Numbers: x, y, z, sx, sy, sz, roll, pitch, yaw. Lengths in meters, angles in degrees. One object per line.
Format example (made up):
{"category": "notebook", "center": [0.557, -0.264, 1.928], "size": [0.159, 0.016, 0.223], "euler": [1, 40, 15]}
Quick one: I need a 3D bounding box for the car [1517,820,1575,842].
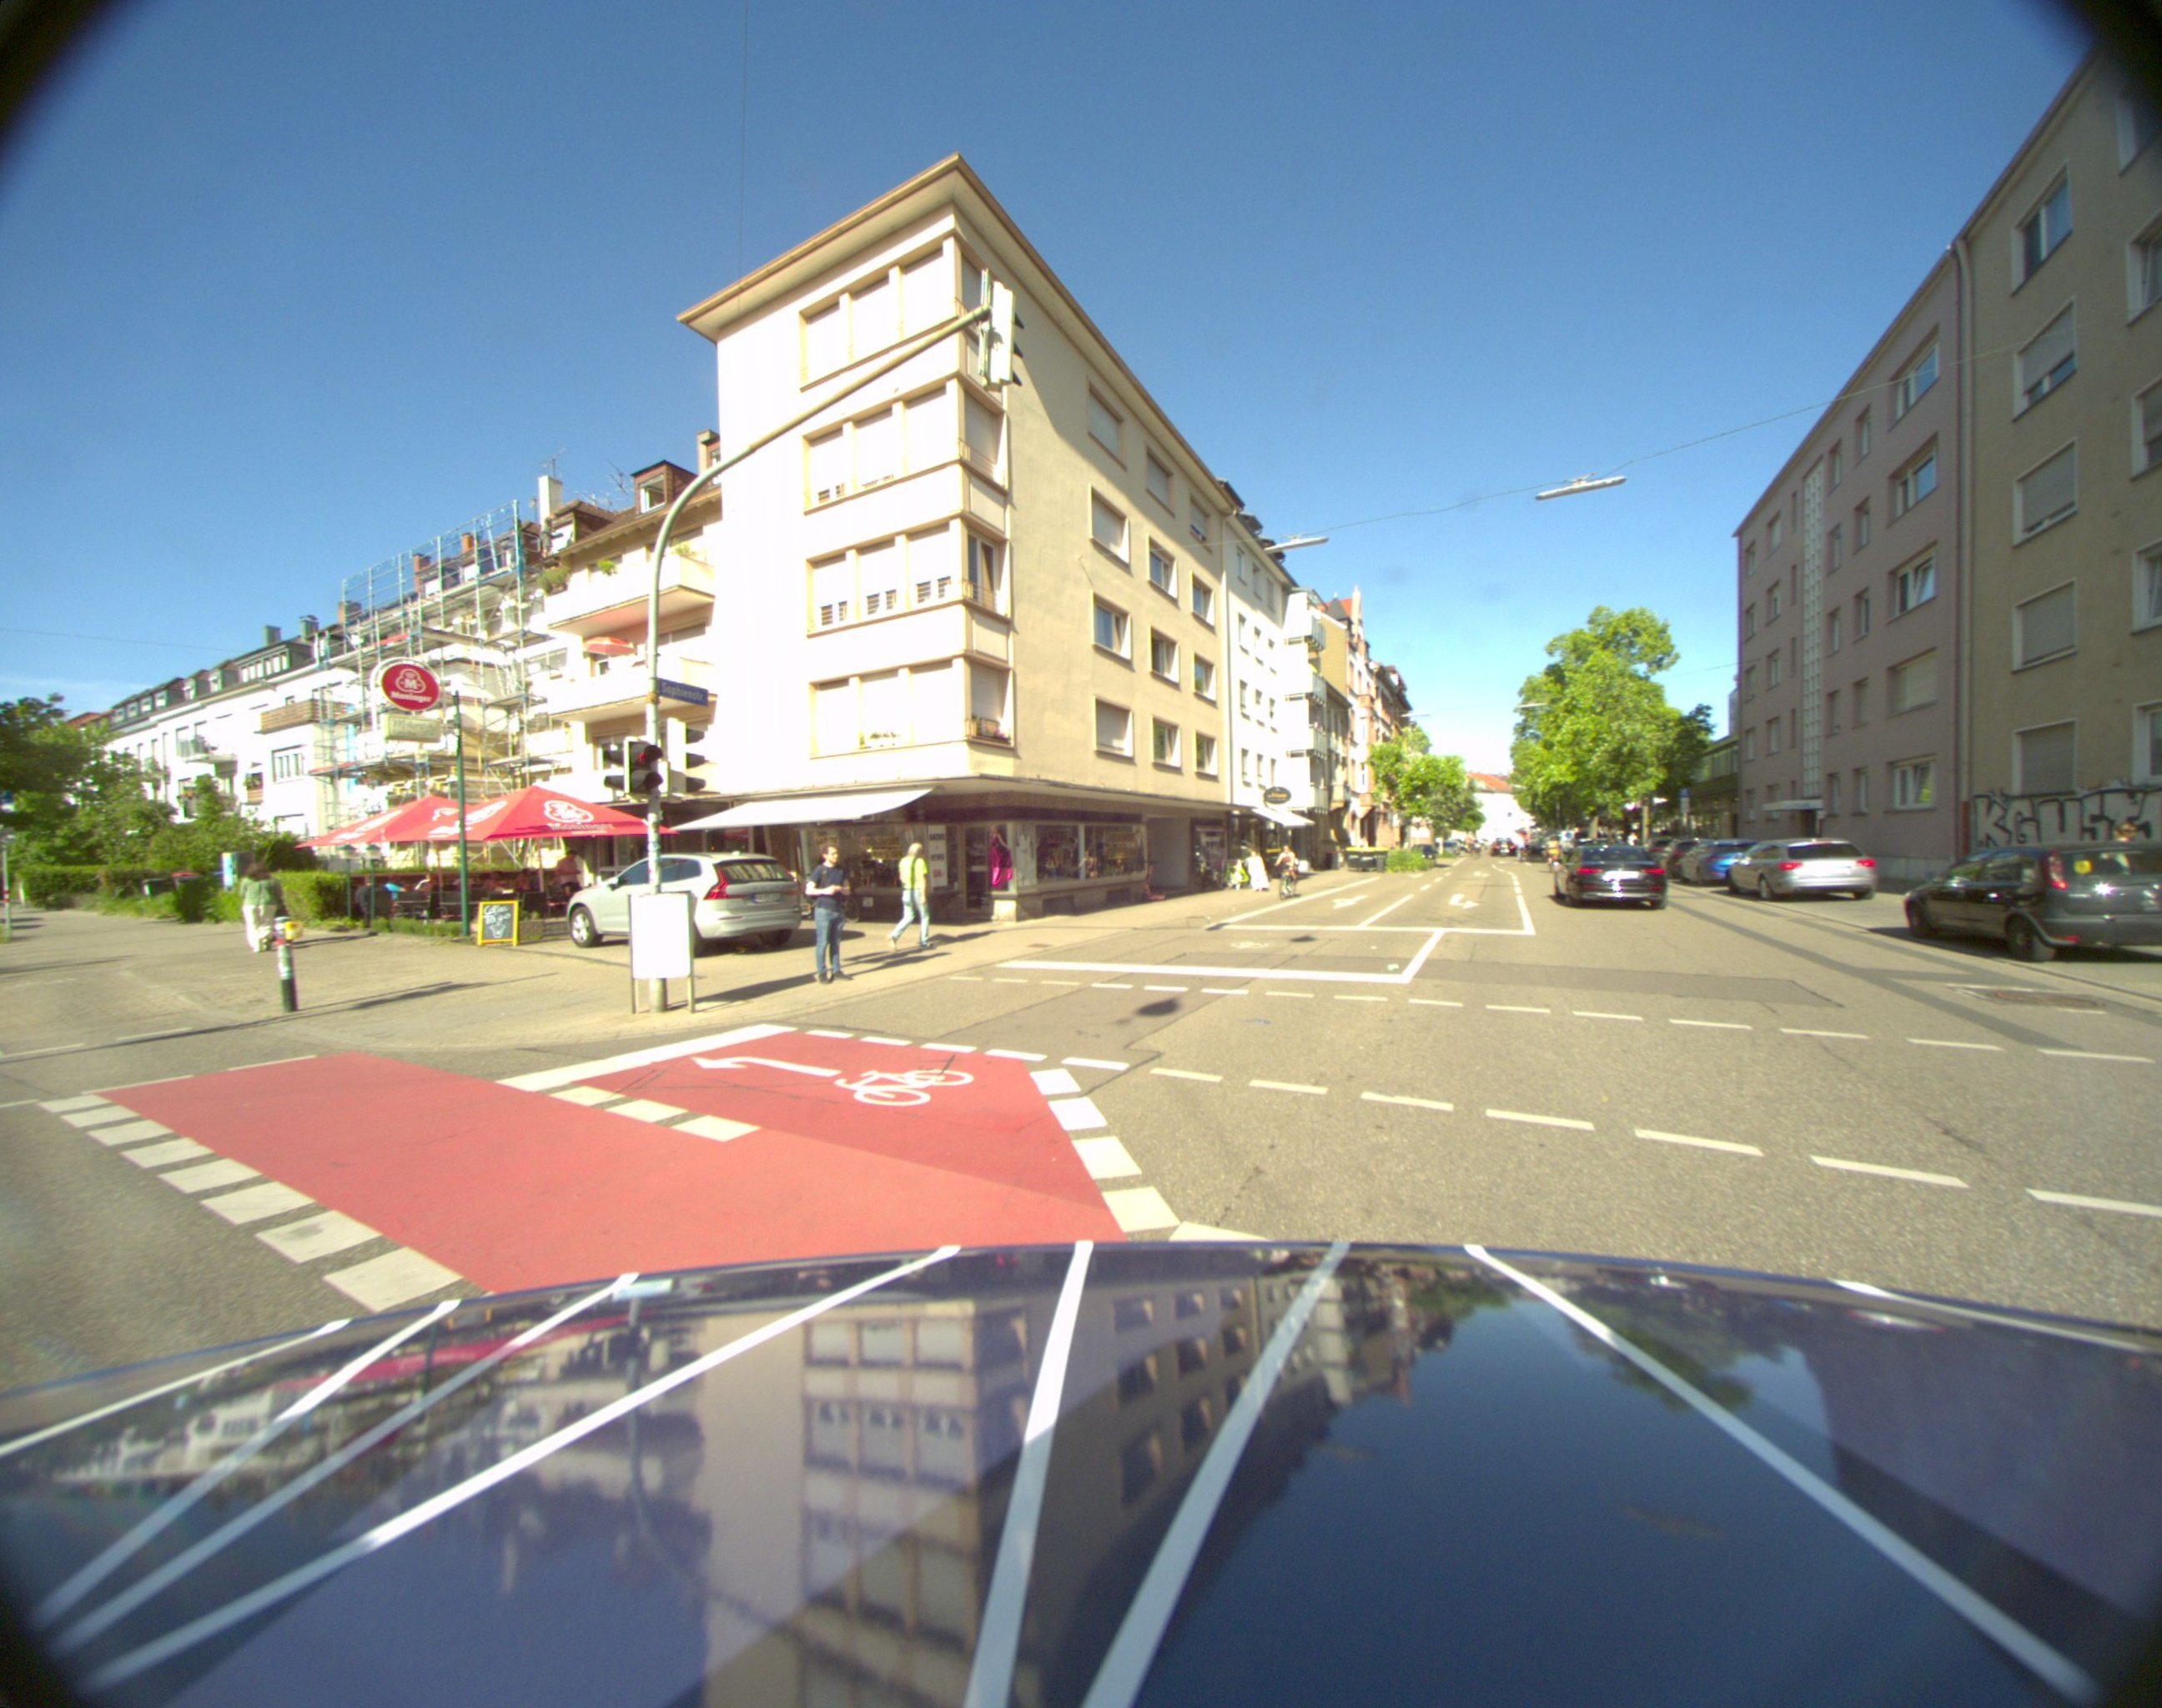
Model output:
{"category": "car", "center": [53.381, -2.591, 87.347], "size": [5.548, 2.379, 1.981], "euler": [-1, 1, 24]}

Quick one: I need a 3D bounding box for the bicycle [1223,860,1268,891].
{"category": "bicycle", "center": [6.033, 0.777, 27.899], "size": [1.494, 1.100, 0.723], "euler": [-1, 1, -3]}

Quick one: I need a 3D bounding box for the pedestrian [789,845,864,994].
{"category": "pedestrian", "center": [-3.213, 0.801, 9.638], "size": [0.627, 1.812, 0.606], "euler": [-1, 1, 15]}

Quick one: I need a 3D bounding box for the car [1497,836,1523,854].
{"category": "car", "center": [37.853, -0.821, 67.075], "size": [1.908, 1.543, 4.007], "euler": [-1, 1, 29]}

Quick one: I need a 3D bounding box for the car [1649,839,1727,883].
{"category": "car", "center": [23.071, 0.230, 29.016], "size": [1.724, 1.459, 4.165], "euler": [-3, 0, 31]}

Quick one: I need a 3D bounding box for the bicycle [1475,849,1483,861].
{"category": "bicycle", "center": [32.657, 0.076, 62.290], "size": [0.543, 0.897, 1.829], "euler": [0, 1, 29]}

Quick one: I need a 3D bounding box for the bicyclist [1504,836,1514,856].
{"category": "bicyclist", "center": [35.309, -0.673, 62.744], "size": [0.680, 1.567, 0.900], "euler": [1, 2, 29]}

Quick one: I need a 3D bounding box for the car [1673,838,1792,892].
{"category": "car", "center": [20.796, 0.291, 24.481], "size": [1.825, 1.494, 4.810], "euler": [-3, 0, 28]}

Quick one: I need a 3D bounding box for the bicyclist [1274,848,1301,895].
{"category": "bicyclist", "center": [6.225, 0.520, 22.856], "size": [0.581, 1.369, 0.666], "euler": [0, 1, 34]}

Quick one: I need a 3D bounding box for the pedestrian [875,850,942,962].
{"category": "pedestrian", "center": [-2.820, 0.825, 12.442], "size": [0.662, 1.748, 0.764], "euler": [-1, 2, 35]}

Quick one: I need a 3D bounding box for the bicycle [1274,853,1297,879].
{"category": "bicycle", "center": [9.440, 0.531, 35.013], "size": [0.597, 1.137, 1.777], "euler": [3, 3, 29]}

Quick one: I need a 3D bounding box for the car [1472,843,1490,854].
{"category": "car", "center": [45.727, -0.639, 86.848], "size": [1.624, 1.270, 3.553], "euler": [-1, 1, 31]}

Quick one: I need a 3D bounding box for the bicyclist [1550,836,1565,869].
{"category": "bicyclist", "center": [22.105, -0.089, 35.231], "size": [0.543, 1.512, 0.775], "euler": [0, 1, 29]}

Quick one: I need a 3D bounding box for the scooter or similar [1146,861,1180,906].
{"category": "scooter or similar", "center": [2.357, 0.818, 21.771], "size": [0.526, 1.218, 1.231], "euler": [0, 1, 29]}

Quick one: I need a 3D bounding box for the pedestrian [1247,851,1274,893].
{"category": "pedestrian", "center": [6.315, 0.635, 26.733], "size": [0.774, 1.434, 0.626], "euler": [-1, 1, 24]}

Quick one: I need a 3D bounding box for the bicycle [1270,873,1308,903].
{"category": "bicycle", "center": [6.290, 1.019, 22.954], "size": [0.581, 0.801, 1.712], "euler": [0, 1, 34]}

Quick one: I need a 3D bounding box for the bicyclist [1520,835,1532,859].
{"category": "bicyclist", "center": [30.900, -0.490, 52.776], "size": [0.680, 1.621, 0.900], "euler": [-1, 1, 29]}

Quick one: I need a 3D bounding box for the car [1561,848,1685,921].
{"category": "car", "center": [12.459, 0.595, 17.744], "size": [1.805, 1.405, 4.433], "euler": [1, 2, 29]}

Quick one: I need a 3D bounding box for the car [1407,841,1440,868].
{"category": "car", "center": [21.824, 0.022, 48.344], "size": [1.624, 1.587, 3.553], "euler": [-1, 1, 29]}

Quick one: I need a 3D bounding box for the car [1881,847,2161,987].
{"category": "car", "center": [12.628, 0.693, 10.000], "size": [1.692, 1.439, 3.863], "euler": [-3, 0, 28]}

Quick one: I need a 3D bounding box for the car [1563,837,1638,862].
{"category": "car", "center": [34.172, -0.310, 50.086], "size": [3.989, 1.543, 1.916], "euler": [-1, 1, 32]}

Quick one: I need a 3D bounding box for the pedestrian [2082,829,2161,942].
{"category": "pedestrian", "center": [15.077, 0.440, 10.973], "size": [0.532, 1.572, 0.564], "euler": [-1, 1, 25]}

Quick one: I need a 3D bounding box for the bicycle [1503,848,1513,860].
{"category": "bicycle", "center": [35.287, -0.041, 62.745], "size": [0.680, 0.947, 1.937], "euler": [1, 2, 29]}

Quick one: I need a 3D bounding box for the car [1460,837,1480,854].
{"category": "car", "center": [38.132, -0.840, 74.372], "size": [1.624, 1.587, 3.553], "euler": [-1, 1, 29]}

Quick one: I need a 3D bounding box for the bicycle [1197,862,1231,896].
{"category": "bicycle", "center": [4.554, 0.832, 25.923], "size": [0.406, 1.079, 1.803], "euler": [3, 3, 34]}

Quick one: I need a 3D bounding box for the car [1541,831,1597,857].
{"category": "car", "center": [40.312, -0.820, 62.861], "size": [3.868, 2.031, 1.916], "euler": [-1, 1, 31]}

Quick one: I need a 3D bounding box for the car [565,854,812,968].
{"category": "car", "center": [-6.751, 0.858, 13.011], "size": [3.989, 1.653, 1.828], "euler": [-1, 1, 30]}

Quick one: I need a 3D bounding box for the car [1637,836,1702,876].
{"category": "car", "center": [25.903, 0.043, 33.580], "size": [1.724, 1.567, 4.165], "euler": [-3, 0, 31]}

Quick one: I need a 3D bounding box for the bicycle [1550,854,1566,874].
{"category": "bicycle", "center": [22.049, 0.449, 35.128], "size": [0.543, 0.897, 1.829], "euler": [0, 1, 29]}

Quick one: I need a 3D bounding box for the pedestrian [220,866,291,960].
{"category": "pedestrian", "center": [-14.700, 1.027, 13.536], "size": [0.593, 1.608, 0.646], "euler": [-1, 1, 24]}

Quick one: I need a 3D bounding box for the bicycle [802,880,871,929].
{"category": "bicycle", "center": [-5.575, 1.115, 17.290], "size": [1.889, 1.011, 0.568], "euler": [0, 1, 40]}

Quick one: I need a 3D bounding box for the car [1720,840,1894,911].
{"category": "car", "center": [17.638, 0.450, 18.773], "size": [1.825, 1.494, 4.810], "euler": [-3, 0, 28]}

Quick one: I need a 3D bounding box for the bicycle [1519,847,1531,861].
{"category": "bicycle", "center": [30.765, -0.019, 52.626], "size": [0.680, 0.946, 1.937], "euler": [-1, 1, 29]}

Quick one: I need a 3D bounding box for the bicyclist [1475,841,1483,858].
{"category": "bicyclist", "center": [32.581, -0.371, 62.142], "size": [0.543, 1.383, 0.790], "euler": [0, 1, 29]}
